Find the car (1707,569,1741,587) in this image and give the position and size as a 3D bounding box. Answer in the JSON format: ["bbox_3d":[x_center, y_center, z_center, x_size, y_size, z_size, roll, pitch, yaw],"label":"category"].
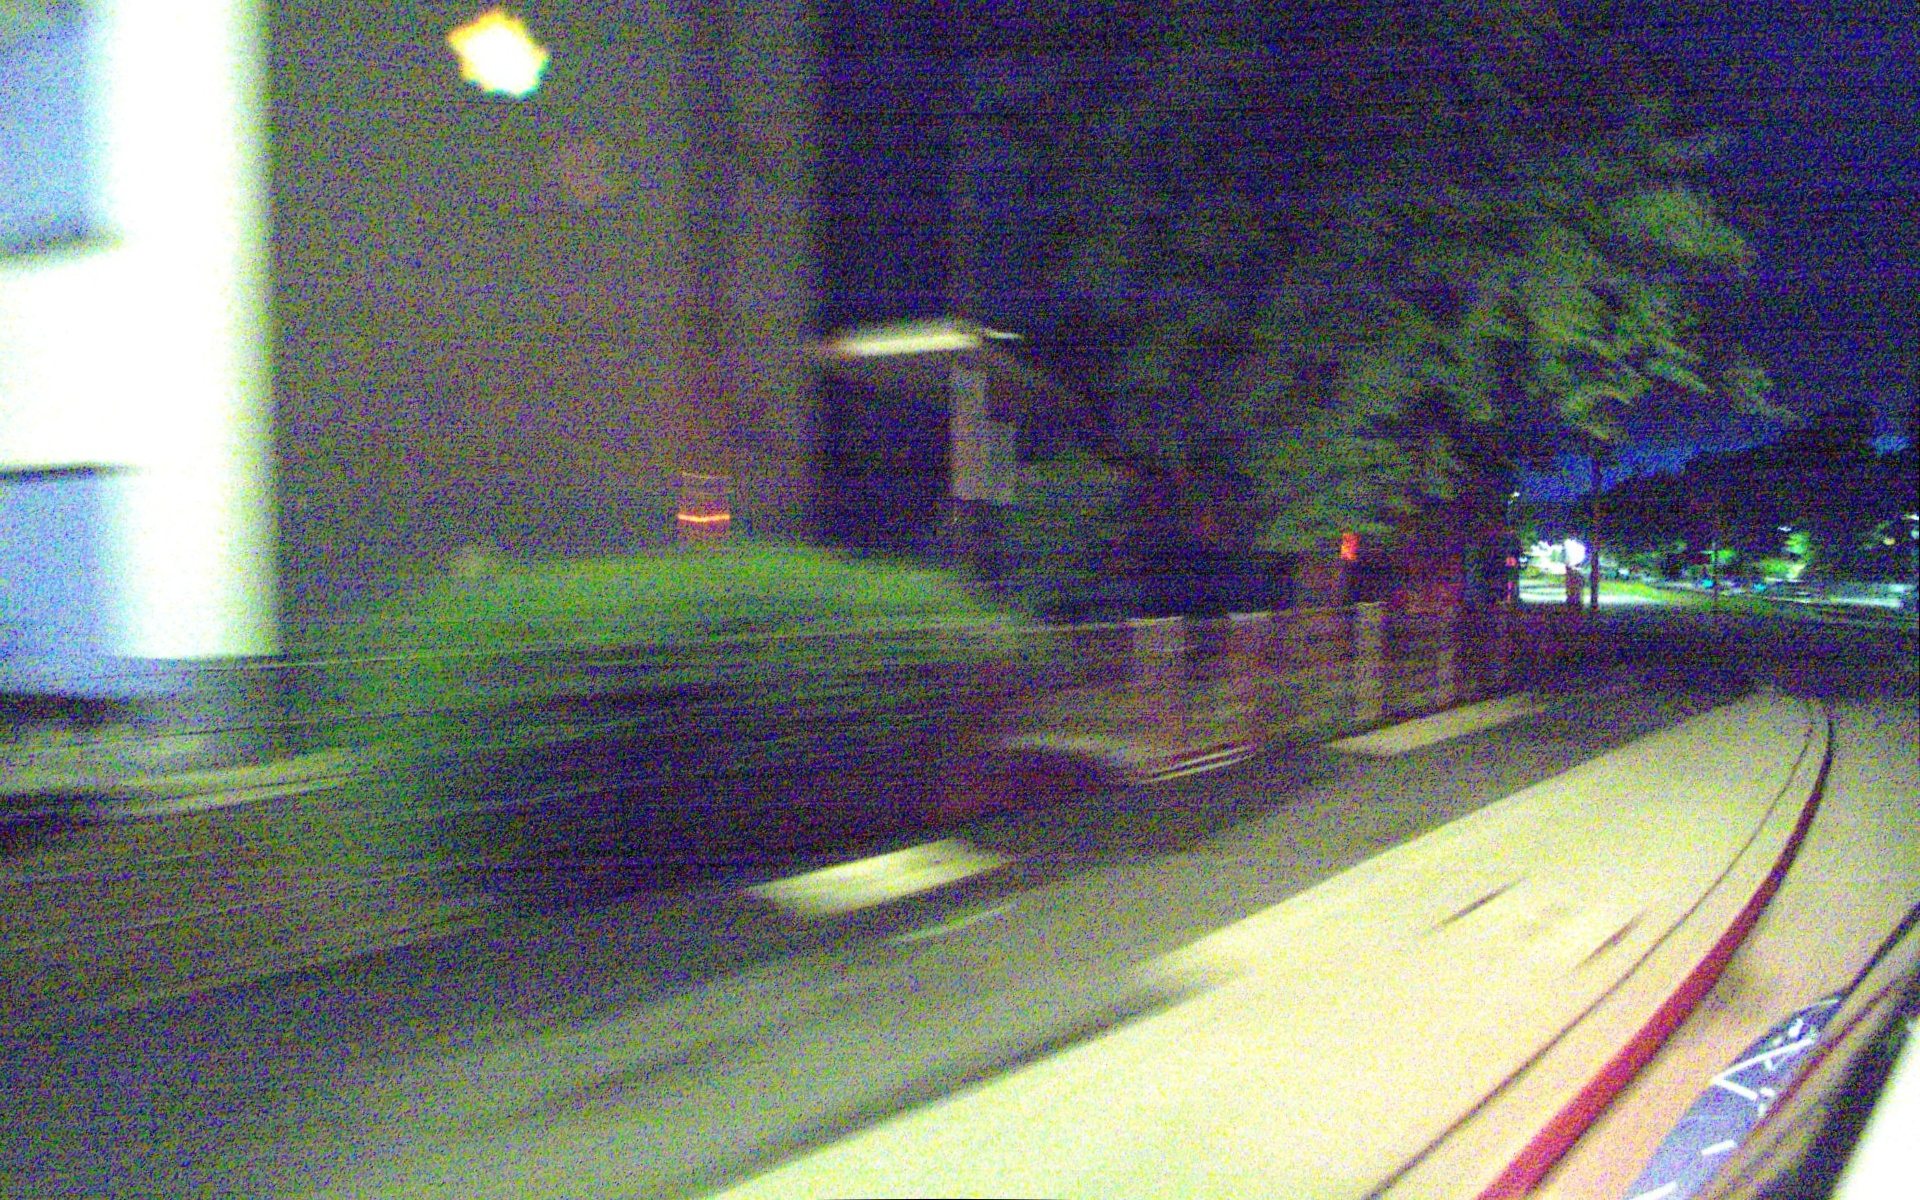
[{"bbox_3d":[76.998,-2.215,102.057,1.753,1.586,4.652,5,4,26],"label":"car"}]

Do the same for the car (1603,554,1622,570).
[{"bbox_3d":[109.143,-6.391,169.342,2.148,2.542,4.675,4,4,28],"label":"car"}]

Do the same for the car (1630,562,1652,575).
[{"bbox_3d":[97.690,-4.543,145.242,2.108,1.792,4.675,4,4,28],"label":"car"}]

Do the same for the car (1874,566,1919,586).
[{"bbox_3d":[80.177,-2.052,85.539,3.957,1.562,1.874,-1,2,25],"label":"car"}]

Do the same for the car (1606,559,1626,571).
[{"bbox_3d":[102.209,-5.439,157.660,2.108,1.792,4.675,4,4,28],"label":"car"}]

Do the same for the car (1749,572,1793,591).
[{"bbox_3d":[68.298,-1.601,85.284,1.890,1.381,4.936,4,4,28],"label":"car"}]

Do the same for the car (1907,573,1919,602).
[{"bbox_3d":[55.307,-0.627,56.927,1.706,1.595,4.494,4,4,27],"label":"car"}]

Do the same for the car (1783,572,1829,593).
[{"bbox_3d":[66.133,-1.386,79.191,1.717,1.381,4.110,4,4,26],"label":"car"}]
